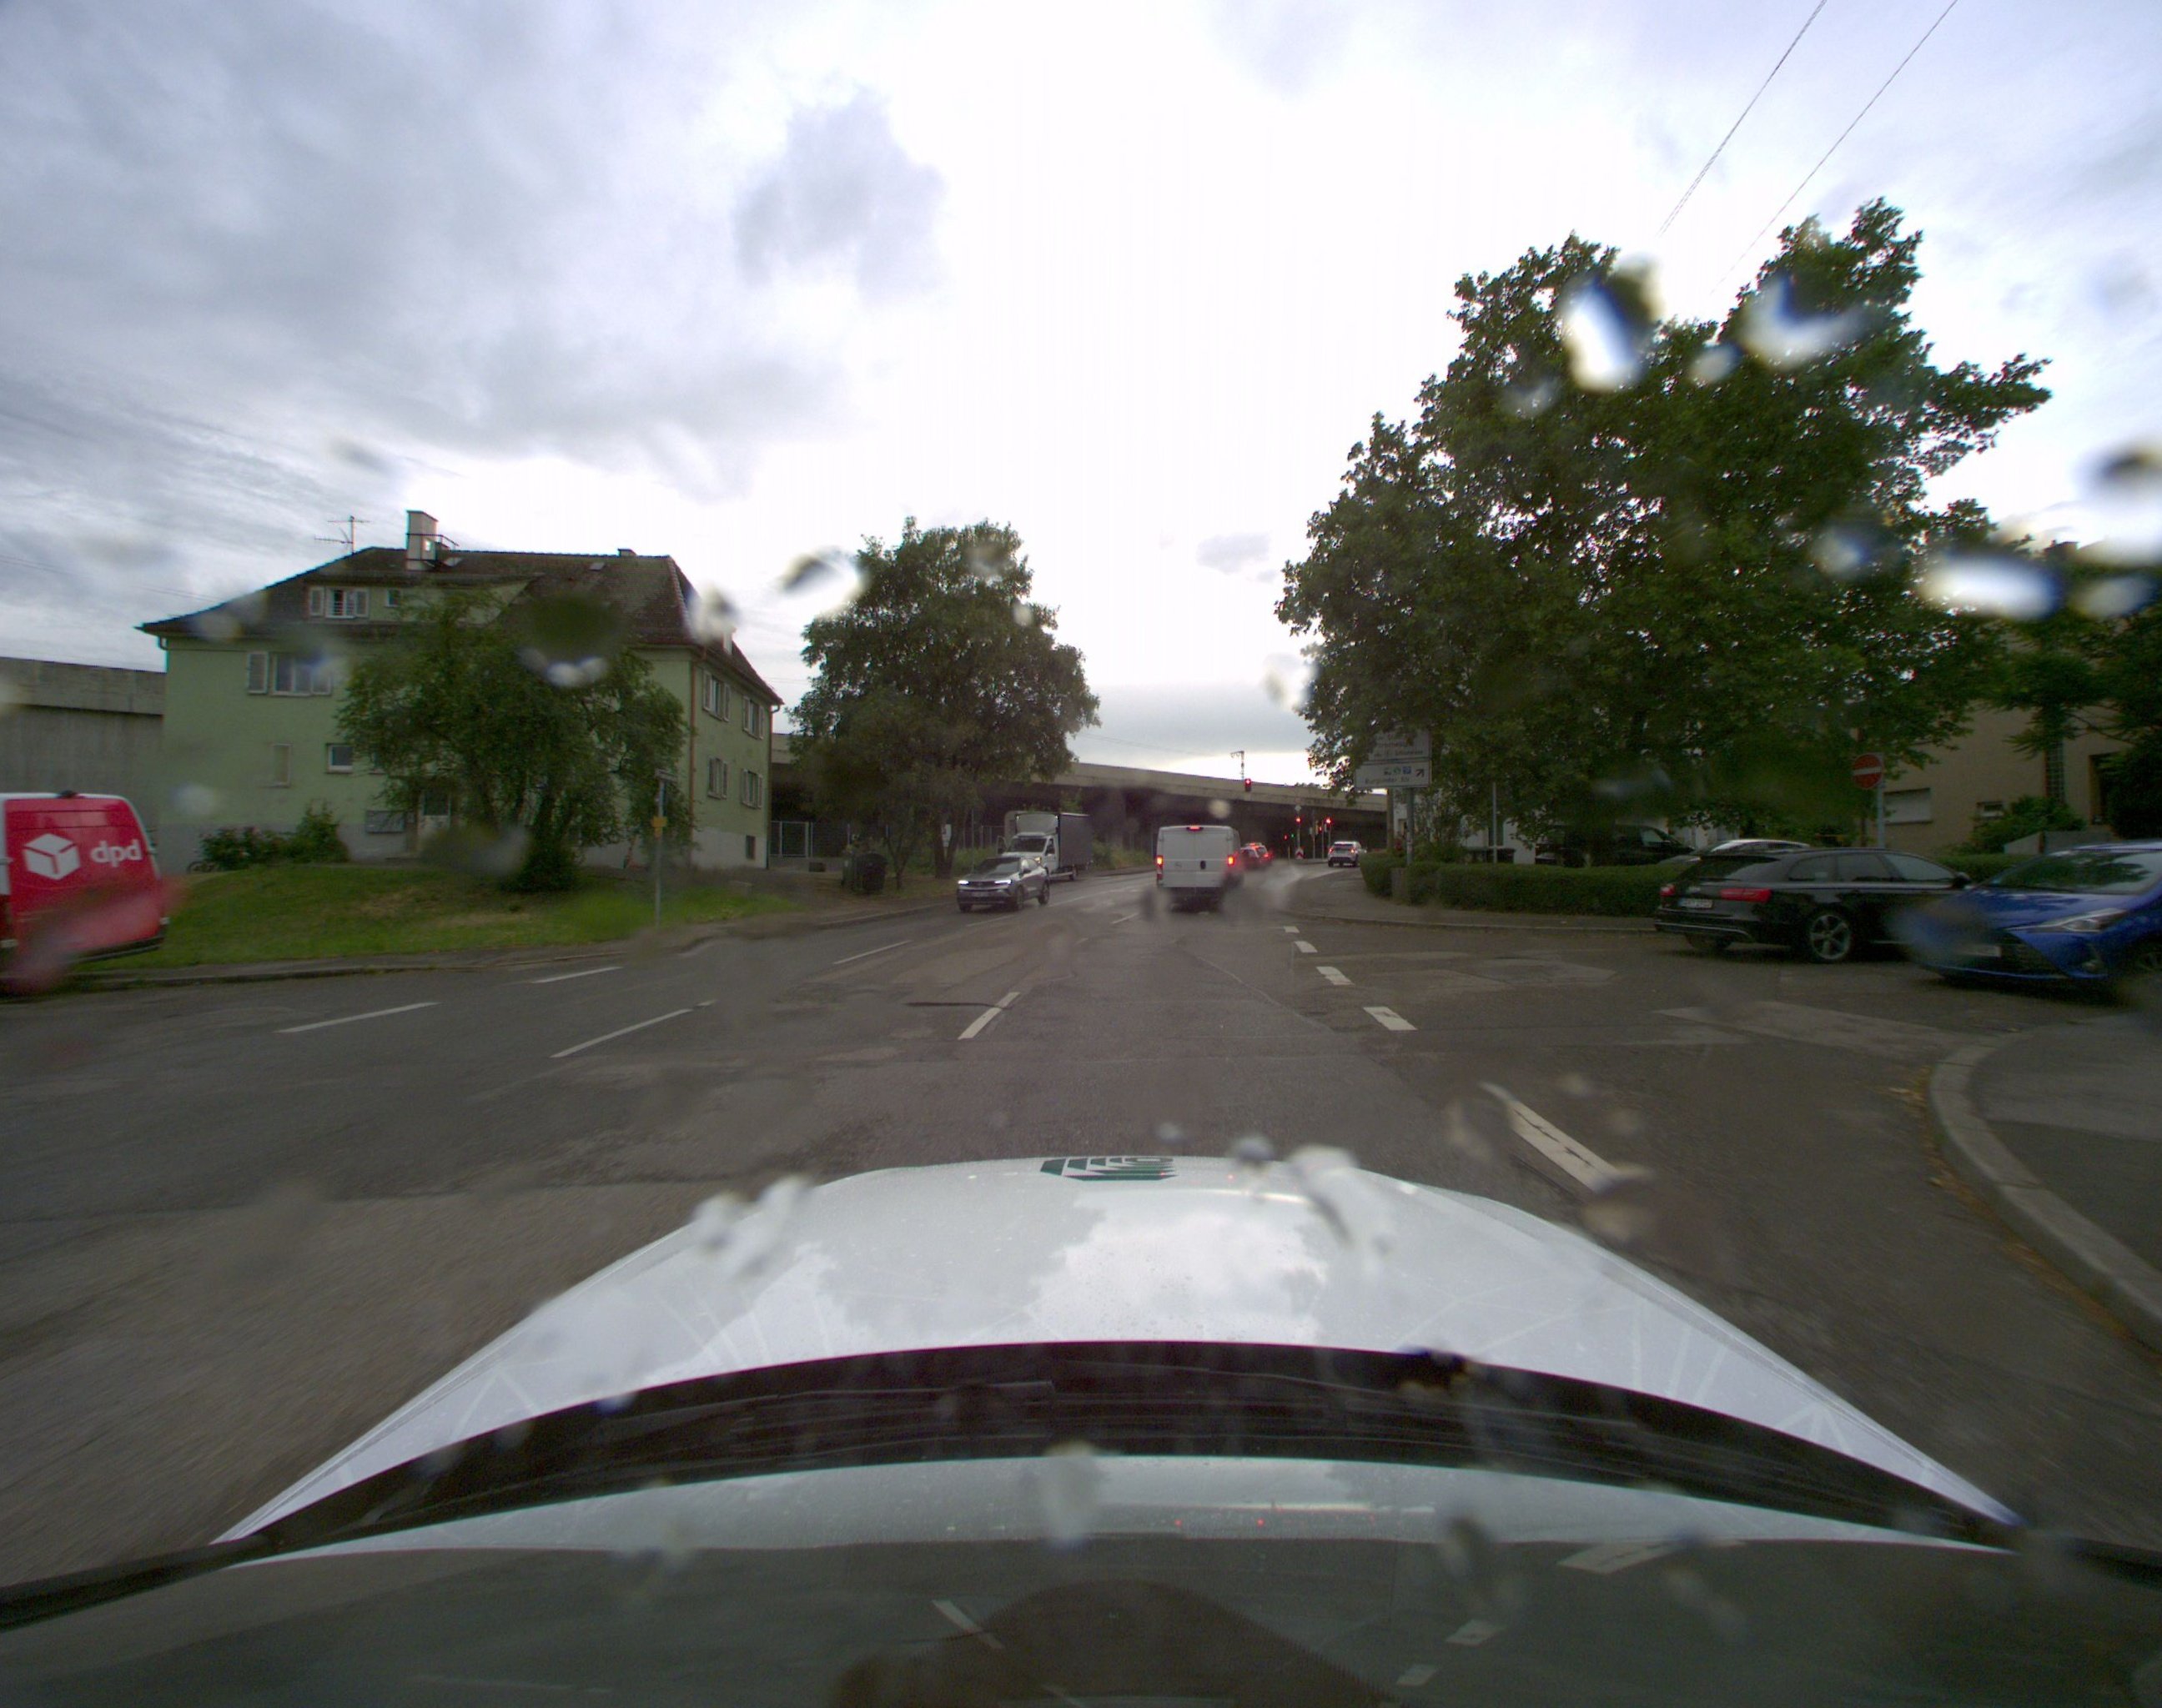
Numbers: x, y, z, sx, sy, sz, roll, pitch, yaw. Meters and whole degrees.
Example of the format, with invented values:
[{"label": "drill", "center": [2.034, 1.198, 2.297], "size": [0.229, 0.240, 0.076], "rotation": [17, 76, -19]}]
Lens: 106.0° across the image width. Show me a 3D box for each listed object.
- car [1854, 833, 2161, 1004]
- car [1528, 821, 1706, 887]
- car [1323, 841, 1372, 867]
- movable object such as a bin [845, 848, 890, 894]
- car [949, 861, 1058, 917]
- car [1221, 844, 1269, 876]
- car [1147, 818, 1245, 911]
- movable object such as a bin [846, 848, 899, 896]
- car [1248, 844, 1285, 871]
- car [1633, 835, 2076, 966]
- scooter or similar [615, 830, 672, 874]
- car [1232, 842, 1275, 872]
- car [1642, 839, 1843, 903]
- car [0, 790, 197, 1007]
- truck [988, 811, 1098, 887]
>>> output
[{"label": "car", "center": [10.747, 0.540, 8.257], "size": [4.102, 1.480, 1.885], "rotation": [-1, 0, -2]}, {"label": "car", "center": [16.843, -0.013, 25.731], "size": [4.393, 1.932, 1.997], "rotation": [-1, 0, -5]}, {"label": "car", "center": [16.578, -0.003, 50.541], "size": [1.974, 1.549, 4.025], "rotation": [-1, -1, 31]}, {"label": "movable object such as a bin", "center": [-7.499, 0.603, 28.595], "size": [1.104, 1.437, 1.449], "rotation": [3, 4, -31]}, {"label": "car", "center": [-2.190, 0.982, 24.183], "size": [1.881, 1.461, 4.017], "rotation": [-1, 0, 16]}, {"label": "car", "center": [8.442, 0.303, 41.674], "size": [1.978, 1.513, 4.018], "rotation": [-1, 0, 17]}, {"label": "car", "center": [3.439, 0.233, 23.314], "size": [2.289, 2.343, 5.301], "rotation": [0, 1, 13]}, {"label": "movable object such as a bin", "center": [-6.984, 0.596, 27.220], "size": [1.298, 1.437, 1.449], "rotation": [3, 4, -31]}, {"label": "car", "center": [12.652, 0.240, 55.489], "size": [1.977, 1.729, 4.019], "rotation": [-1, 0, 19]}, {"label": "car", "center": [10.474, 0.553, 11.184], "size": [4.800, 1.480, 1.880], "rotation": [-2, 0, -9]}, {"label": "scooter or similar", "center": [-13.711, -0.071, 25.523], "size": [1.511, 1.273, 0.532], "rotation": [3, 0, 11]}, {"label": "car", "center": [10.530, 0.212, 49.396], "size": [1.977, 1.729, 4.020], "rotation": [-1, 0, 20]}, {"label": "car", "center": [17.840, 0.443, 22.110], "size": [3.973, 1.580, 1.823], "rotation": [-1, 0, 1]}, {"label": "car", "center": [-16.609, 0.571, 10.836], "size": [6.788, 2.655, 2.260], "rotation": [0, -1, -4]}, {"label": "truck", "center": [-1.595, -0.236, 38.987], "size": [2.589, 3.237, 7.812], "rotation": [-1, 0, 18]}]
